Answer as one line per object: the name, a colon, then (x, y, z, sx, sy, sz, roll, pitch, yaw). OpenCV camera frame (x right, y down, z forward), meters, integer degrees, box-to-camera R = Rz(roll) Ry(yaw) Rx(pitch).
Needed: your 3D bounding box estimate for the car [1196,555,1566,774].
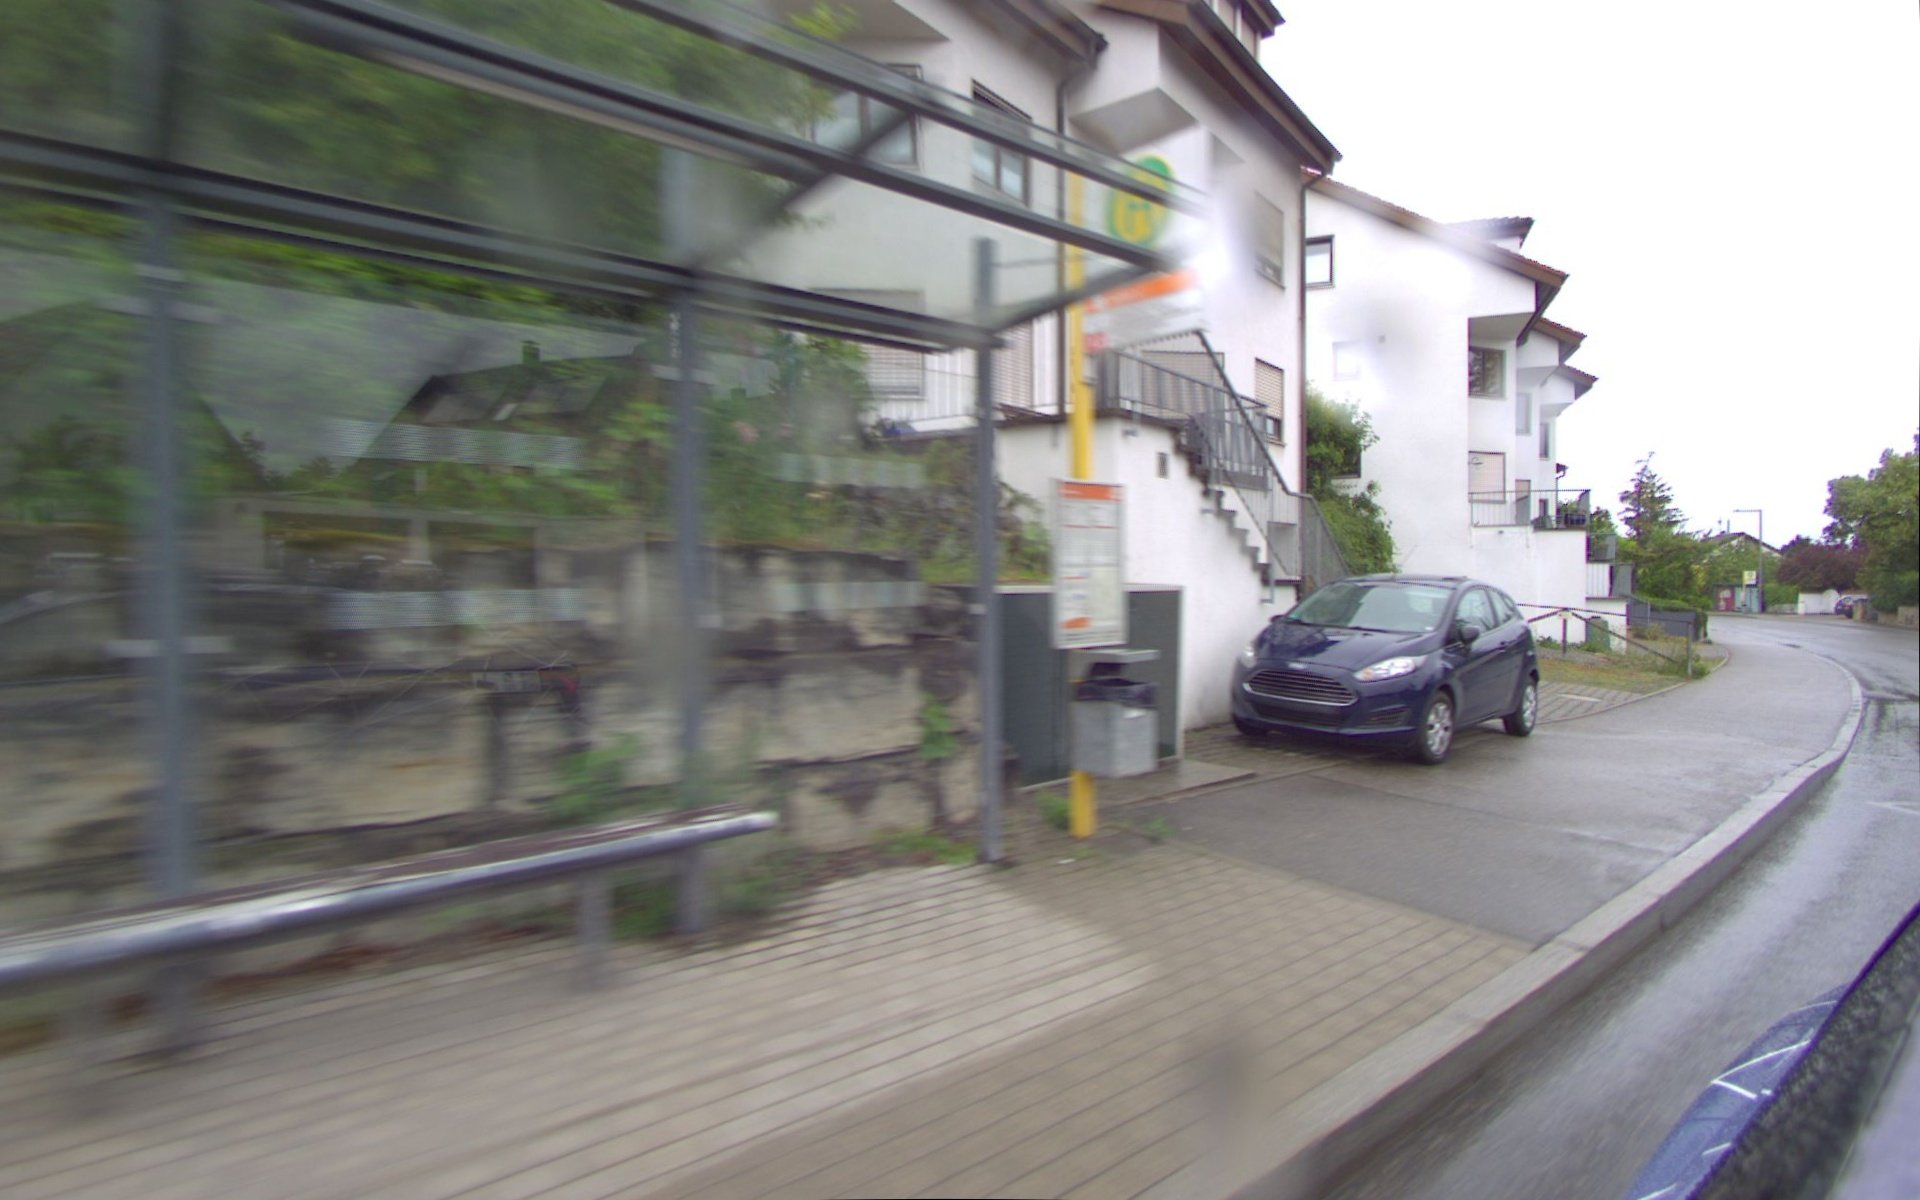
car: (3.912, 0.418, 9.048, 1.706, 1.472, 3.957, 5, 3, 43)

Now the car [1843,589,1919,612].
car: (60.869, 0.024, 66.046, 4.499, 1.494, 1.827, -1, 0, 21)
